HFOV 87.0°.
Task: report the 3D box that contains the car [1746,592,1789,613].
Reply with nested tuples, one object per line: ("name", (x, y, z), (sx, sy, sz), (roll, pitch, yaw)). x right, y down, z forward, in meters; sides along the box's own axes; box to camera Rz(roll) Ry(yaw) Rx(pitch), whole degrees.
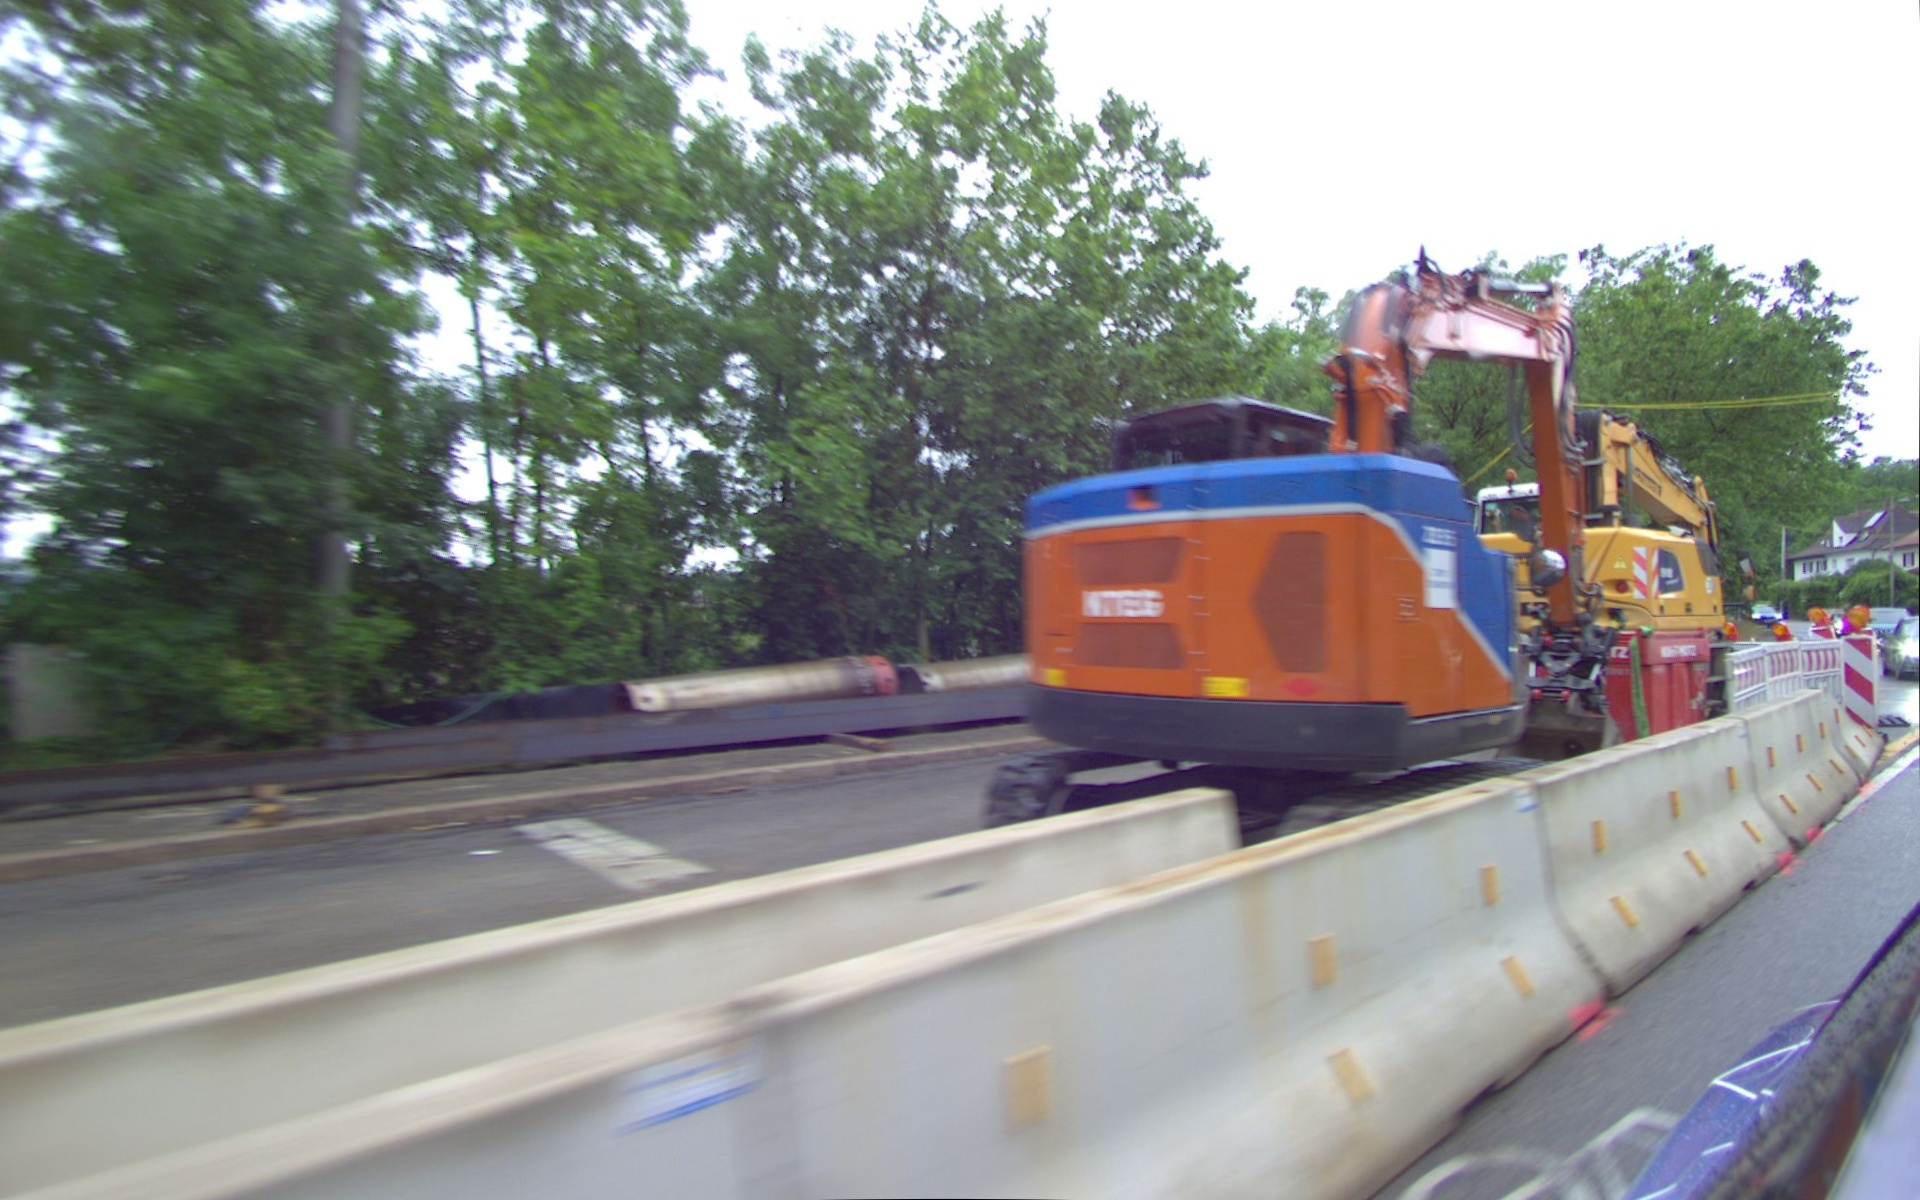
("car", (58.691, 0.172, 73.534), (3.563, 1.353, 1.823), (-1, -1, -41))

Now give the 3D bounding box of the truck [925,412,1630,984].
("truck", (1.859, 0.336, 5.824), (3.247, 2.134, 2.555), (-1, 1, -41))

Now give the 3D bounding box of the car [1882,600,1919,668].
("car", (24.562, 0.810, 25.487), (3.586, 1.594, 1.538), (-1, -1, -41))

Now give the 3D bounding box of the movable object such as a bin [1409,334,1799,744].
("movable object such as a bin", (8.261, -0.612, 12.926), (4.404, 4.224, 2.886), (1, -1, -38))

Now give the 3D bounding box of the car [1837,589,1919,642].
("car", (33.911, 0.551, 37.323), (1.942, 1.830, 3.875), (-3, -1, 36))
